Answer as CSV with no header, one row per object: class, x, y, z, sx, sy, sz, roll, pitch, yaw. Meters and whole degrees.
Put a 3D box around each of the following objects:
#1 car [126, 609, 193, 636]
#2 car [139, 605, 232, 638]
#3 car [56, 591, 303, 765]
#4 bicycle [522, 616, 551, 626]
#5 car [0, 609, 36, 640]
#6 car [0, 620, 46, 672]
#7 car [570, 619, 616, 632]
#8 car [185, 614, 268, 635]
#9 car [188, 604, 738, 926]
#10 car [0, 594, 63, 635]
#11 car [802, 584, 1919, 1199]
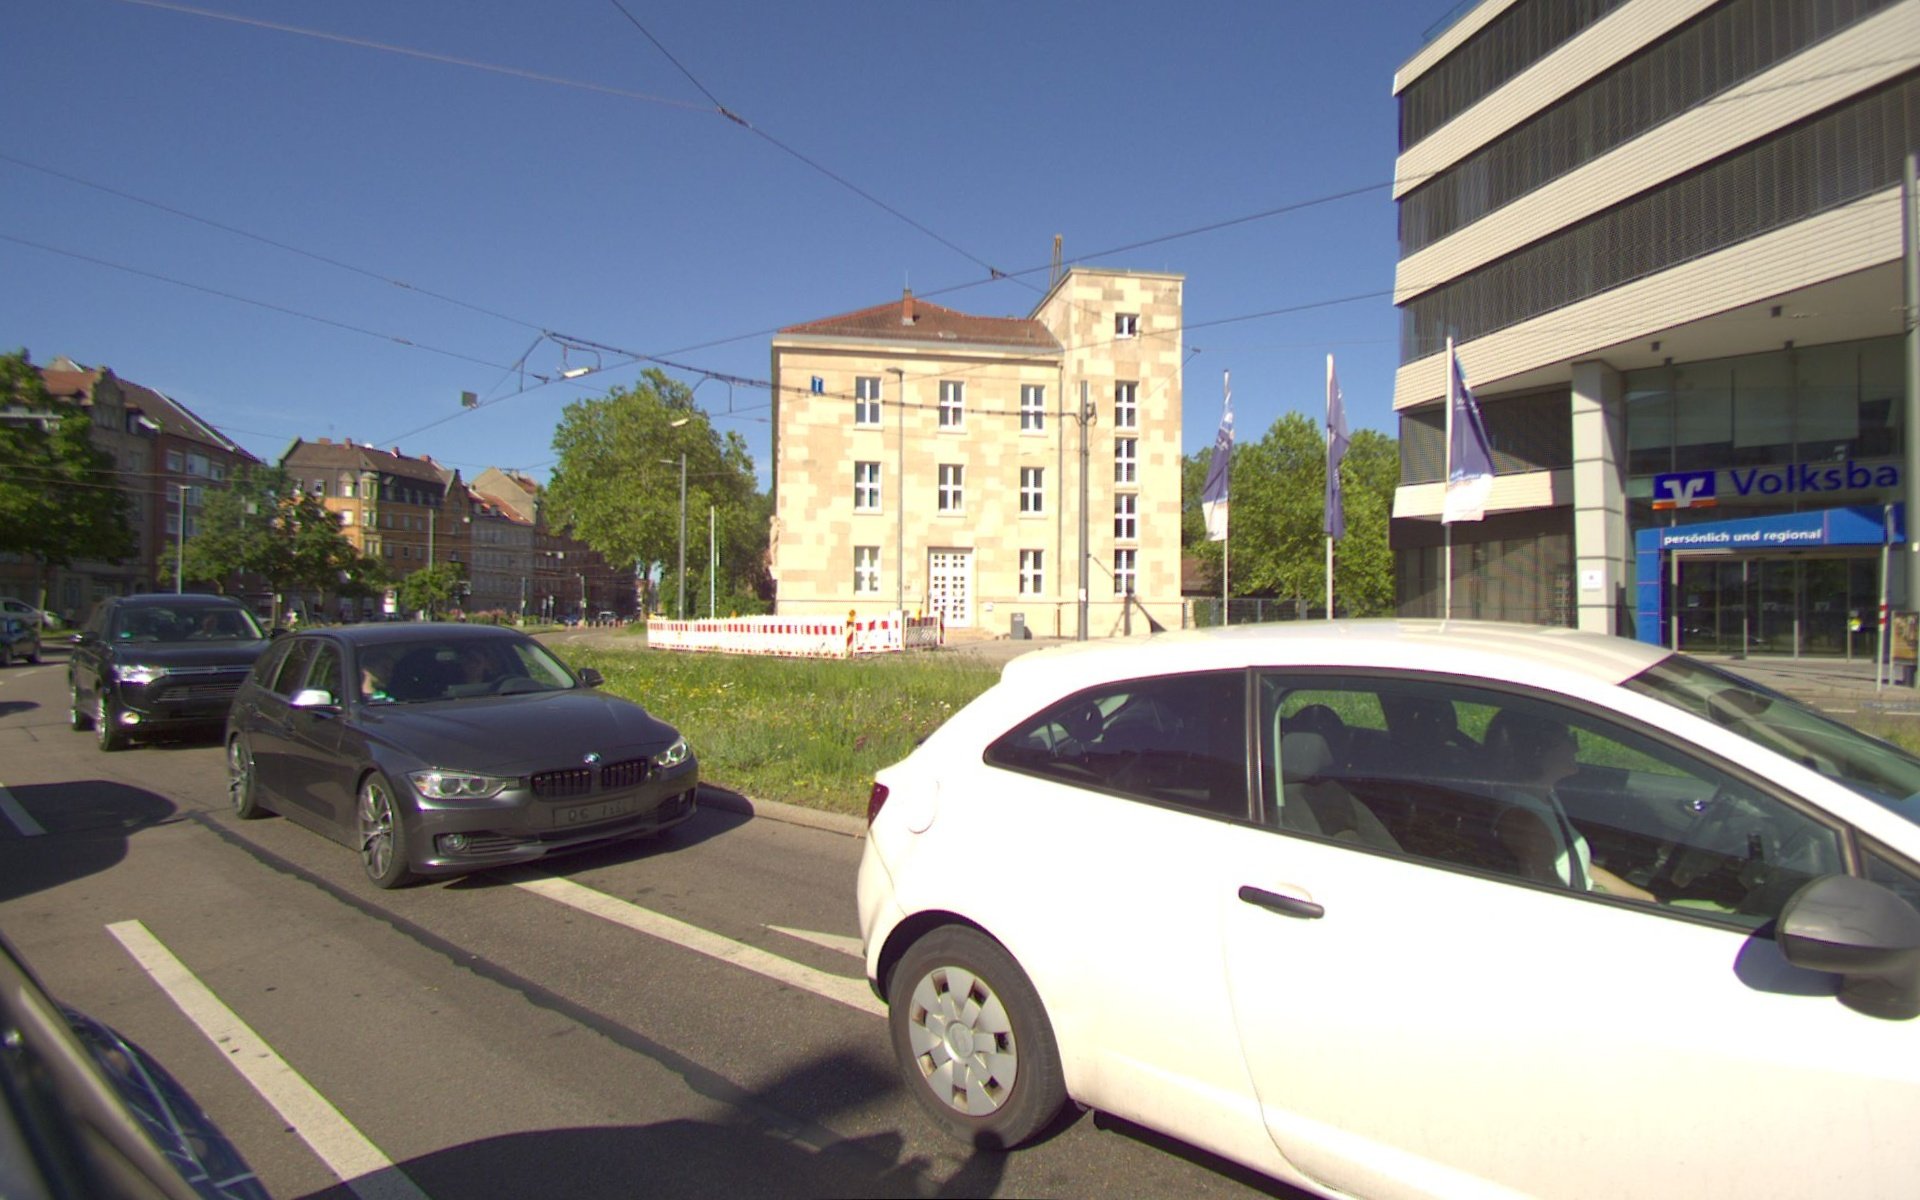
car,-63.357,1.738,80.205,1.971,1.483,4.499,-11,4,-8
car,-53.793,1.514,70.331,2.022,2.091,4.809,-1,-3,45
car,-9.511,0.789,12.174,1.815,1.695,4.646,0,-1,-45
bicycle,-60.972,3.046,145.820,1.940,1.427,6.837,2,-2,-7
car,-48.782,1.183,50.426,3.970,1.490,1.814,4,-2,-44
car,-28.235,1.306,29.087,1.858,1.438,4.390,1,-1,-28
car,-43.384,2.988,119.696,4.882,1.464,1.839,1,-2,-8
car,-55.705,1.857,76.899,4.807,1.446,2.022,4,-3,-44
car,-3.573,0.800,6.827,4.465,1.434,1.716,-1,1,41
car,-50.319,0.712,52.789,5.105,2.028,2.104,3,-2,-40
car,1.495,0.711,2.378,3.780,1.434,1.615,-1,1,41
